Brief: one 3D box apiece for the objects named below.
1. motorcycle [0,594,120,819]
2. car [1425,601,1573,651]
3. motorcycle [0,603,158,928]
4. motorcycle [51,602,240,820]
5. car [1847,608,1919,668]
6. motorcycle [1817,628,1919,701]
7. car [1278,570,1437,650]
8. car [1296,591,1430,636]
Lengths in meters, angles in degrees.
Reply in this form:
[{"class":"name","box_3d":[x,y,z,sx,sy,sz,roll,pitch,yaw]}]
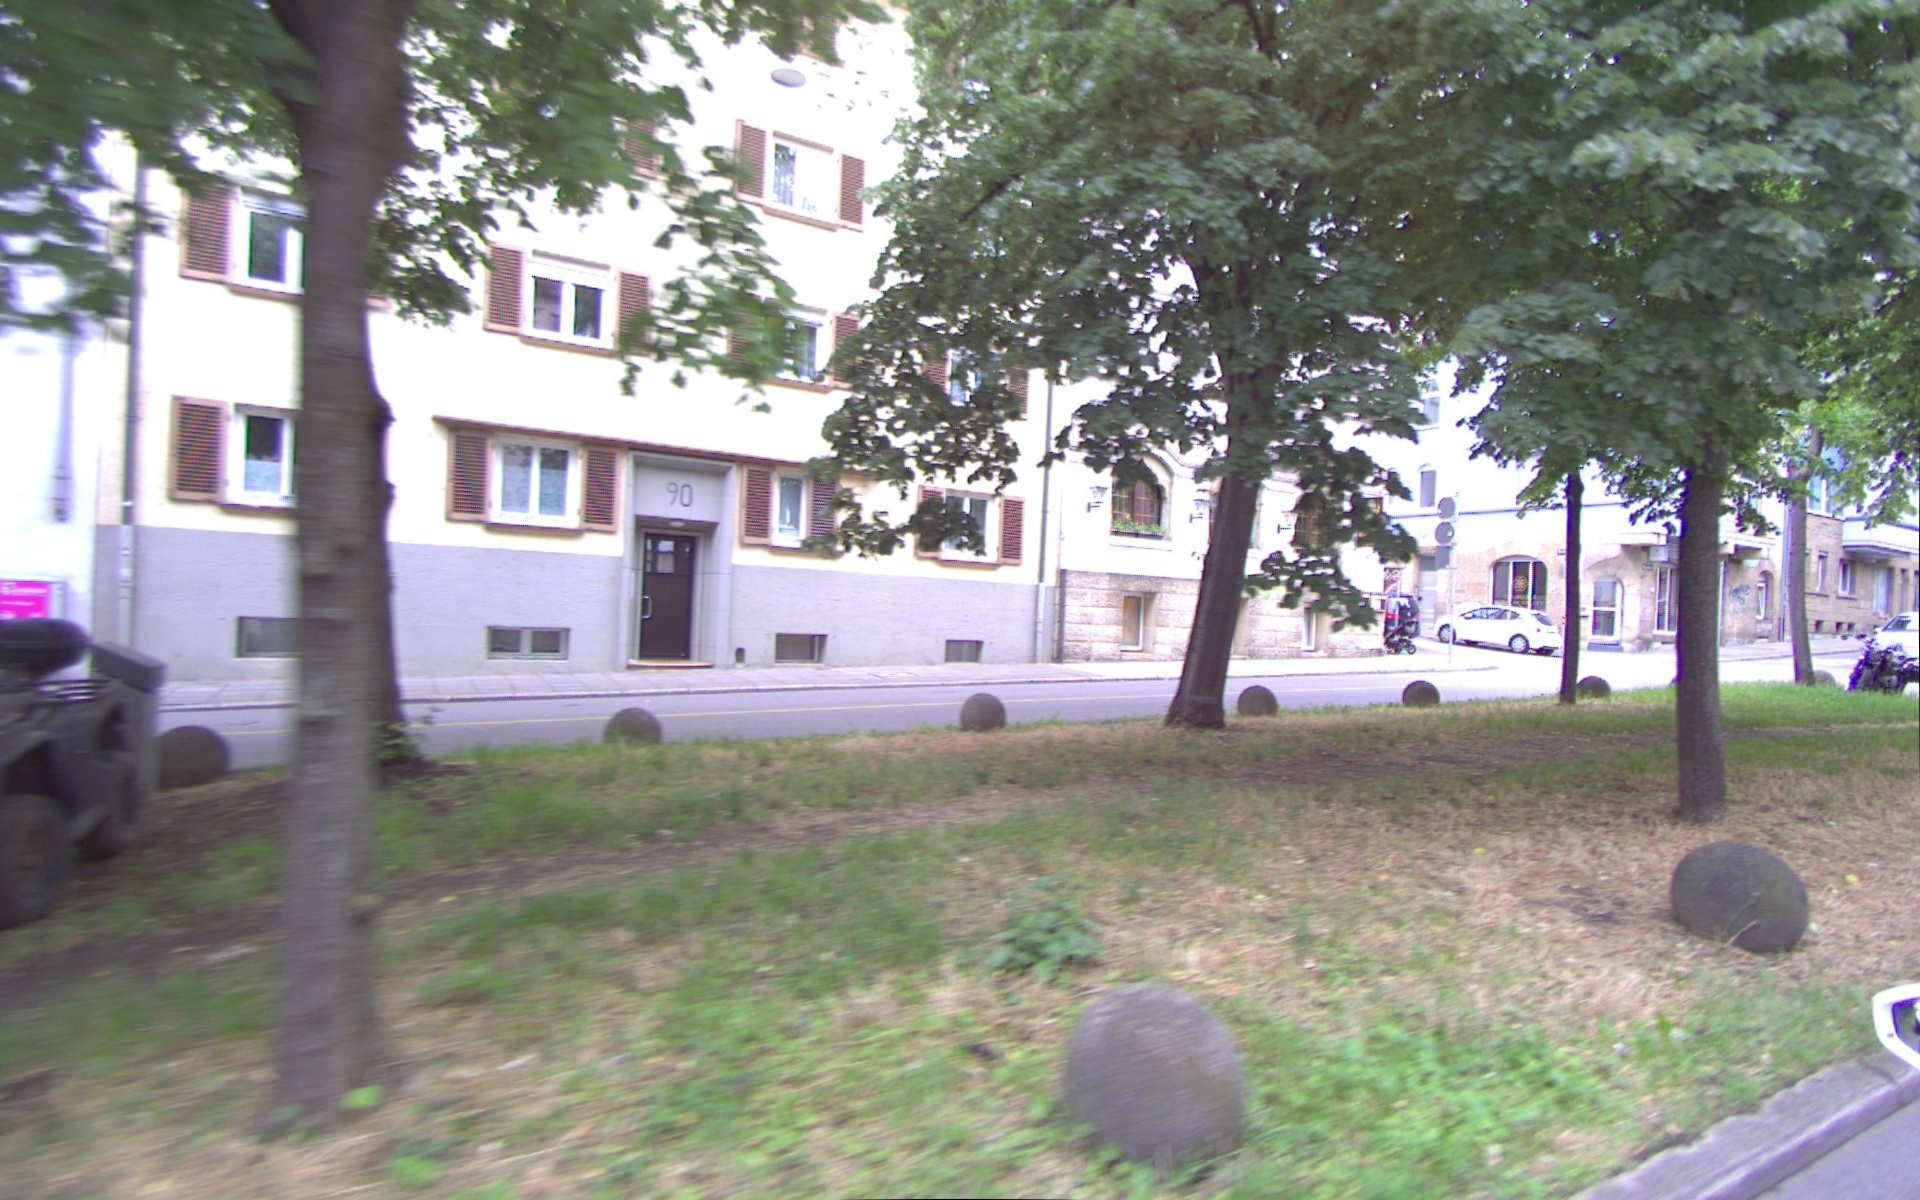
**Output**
[{"class":"motorcycle","box_3d":[-6.044,0.602,6.566,0.510,1.252,2.098,1,1,-31]},{"class":"car","box_3d":[18.080,0.841,33.870,1.976,1.517,3.968,1,0,-30]},{"class":"motorcycle","box_3d":[-4.526,0.651,4.566,0.884,1.252,2.023,1,0,-24]},{"class":"motorcycle","box_3d":[-5.465,0.653,6.866,0.615,1.252,2.121,2,-1,-30]},{"class":"car","box_3d":[28.457,1.083,29.678,4.758,1.646,1.984,1,0,-30]},{"class":"motorcycle","box_3d":[15.374,1.081,16.791,2.225,1.121,0.896,3,-1,-30]},{"class":"car","box_3d":[13.119,0.250,33.530,1.973,2.081,4.784,0,6,-25]},{"class":"car","box_3d":[15.516,0.478,38.997,1.973,1.598,4.786,1,0,-25]}]
